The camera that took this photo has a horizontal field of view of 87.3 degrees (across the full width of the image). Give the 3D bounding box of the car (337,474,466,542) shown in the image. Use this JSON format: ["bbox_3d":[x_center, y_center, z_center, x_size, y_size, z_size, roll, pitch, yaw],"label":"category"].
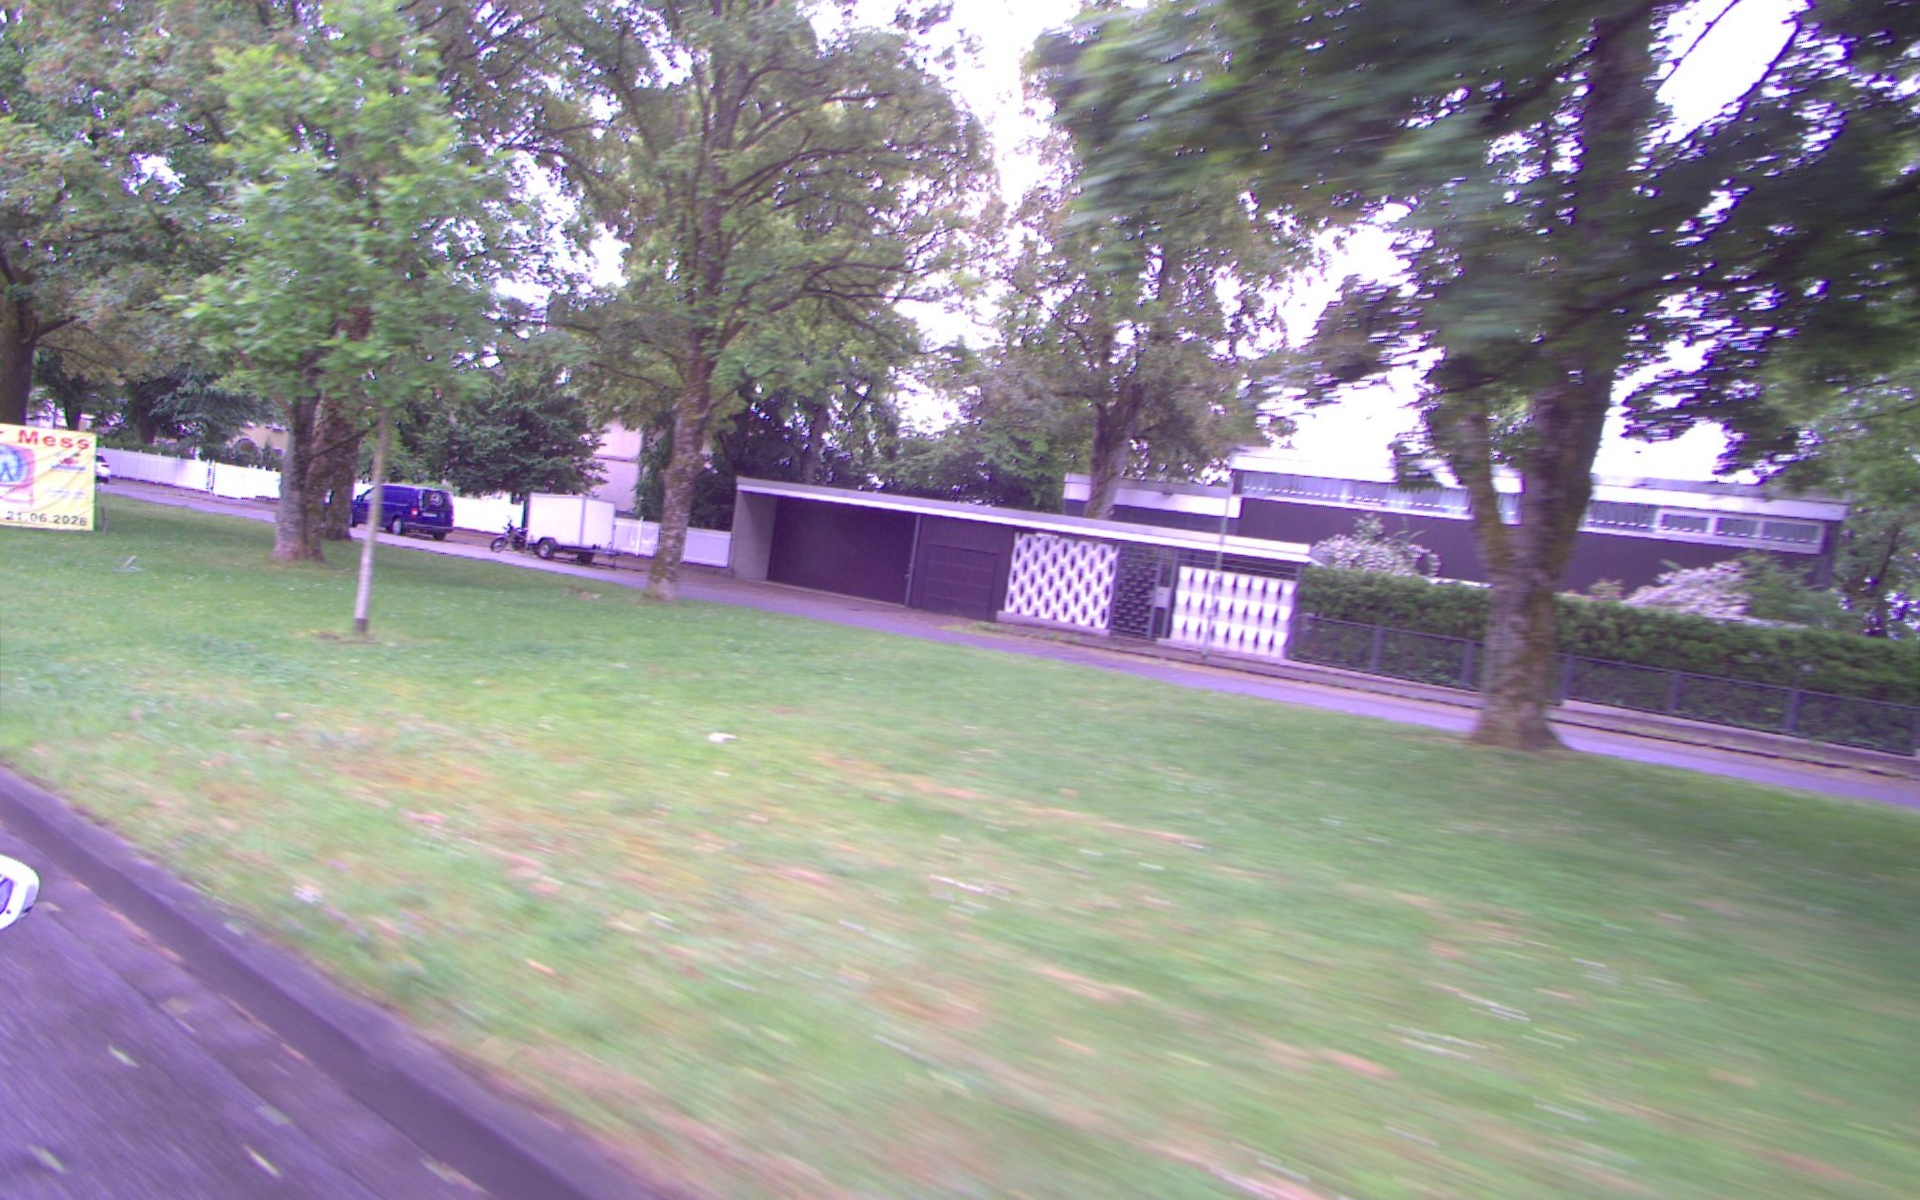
[{"bbox_3d":[-20.509,-3.364,36.897,4.568,1.834,1.942,10,4,29],"label":"car"}]

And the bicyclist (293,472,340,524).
[{"bbox_3d":[-19.326,-3.059,30.222,0.983,1.408,0.745,8,2,32],"label":"bicyclist"}]

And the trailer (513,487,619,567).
[{"bbox_3d":[-12.739,-2.355,32.525,2.898,2.182,1.438,8,2,27],"label":"trailer"}]

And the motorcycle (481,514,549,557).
[{"bbox_3d":[-14.713,-2.131,33.305,1.876,1.107,0.651,7,3,-39],"label":"motorcycle"}]

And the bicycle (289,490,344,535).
[{"bbox_3d":[-19.332,-2.645,30.202,1.832,1.153,0.596,8,2,32],"label":"bicycle"}]
